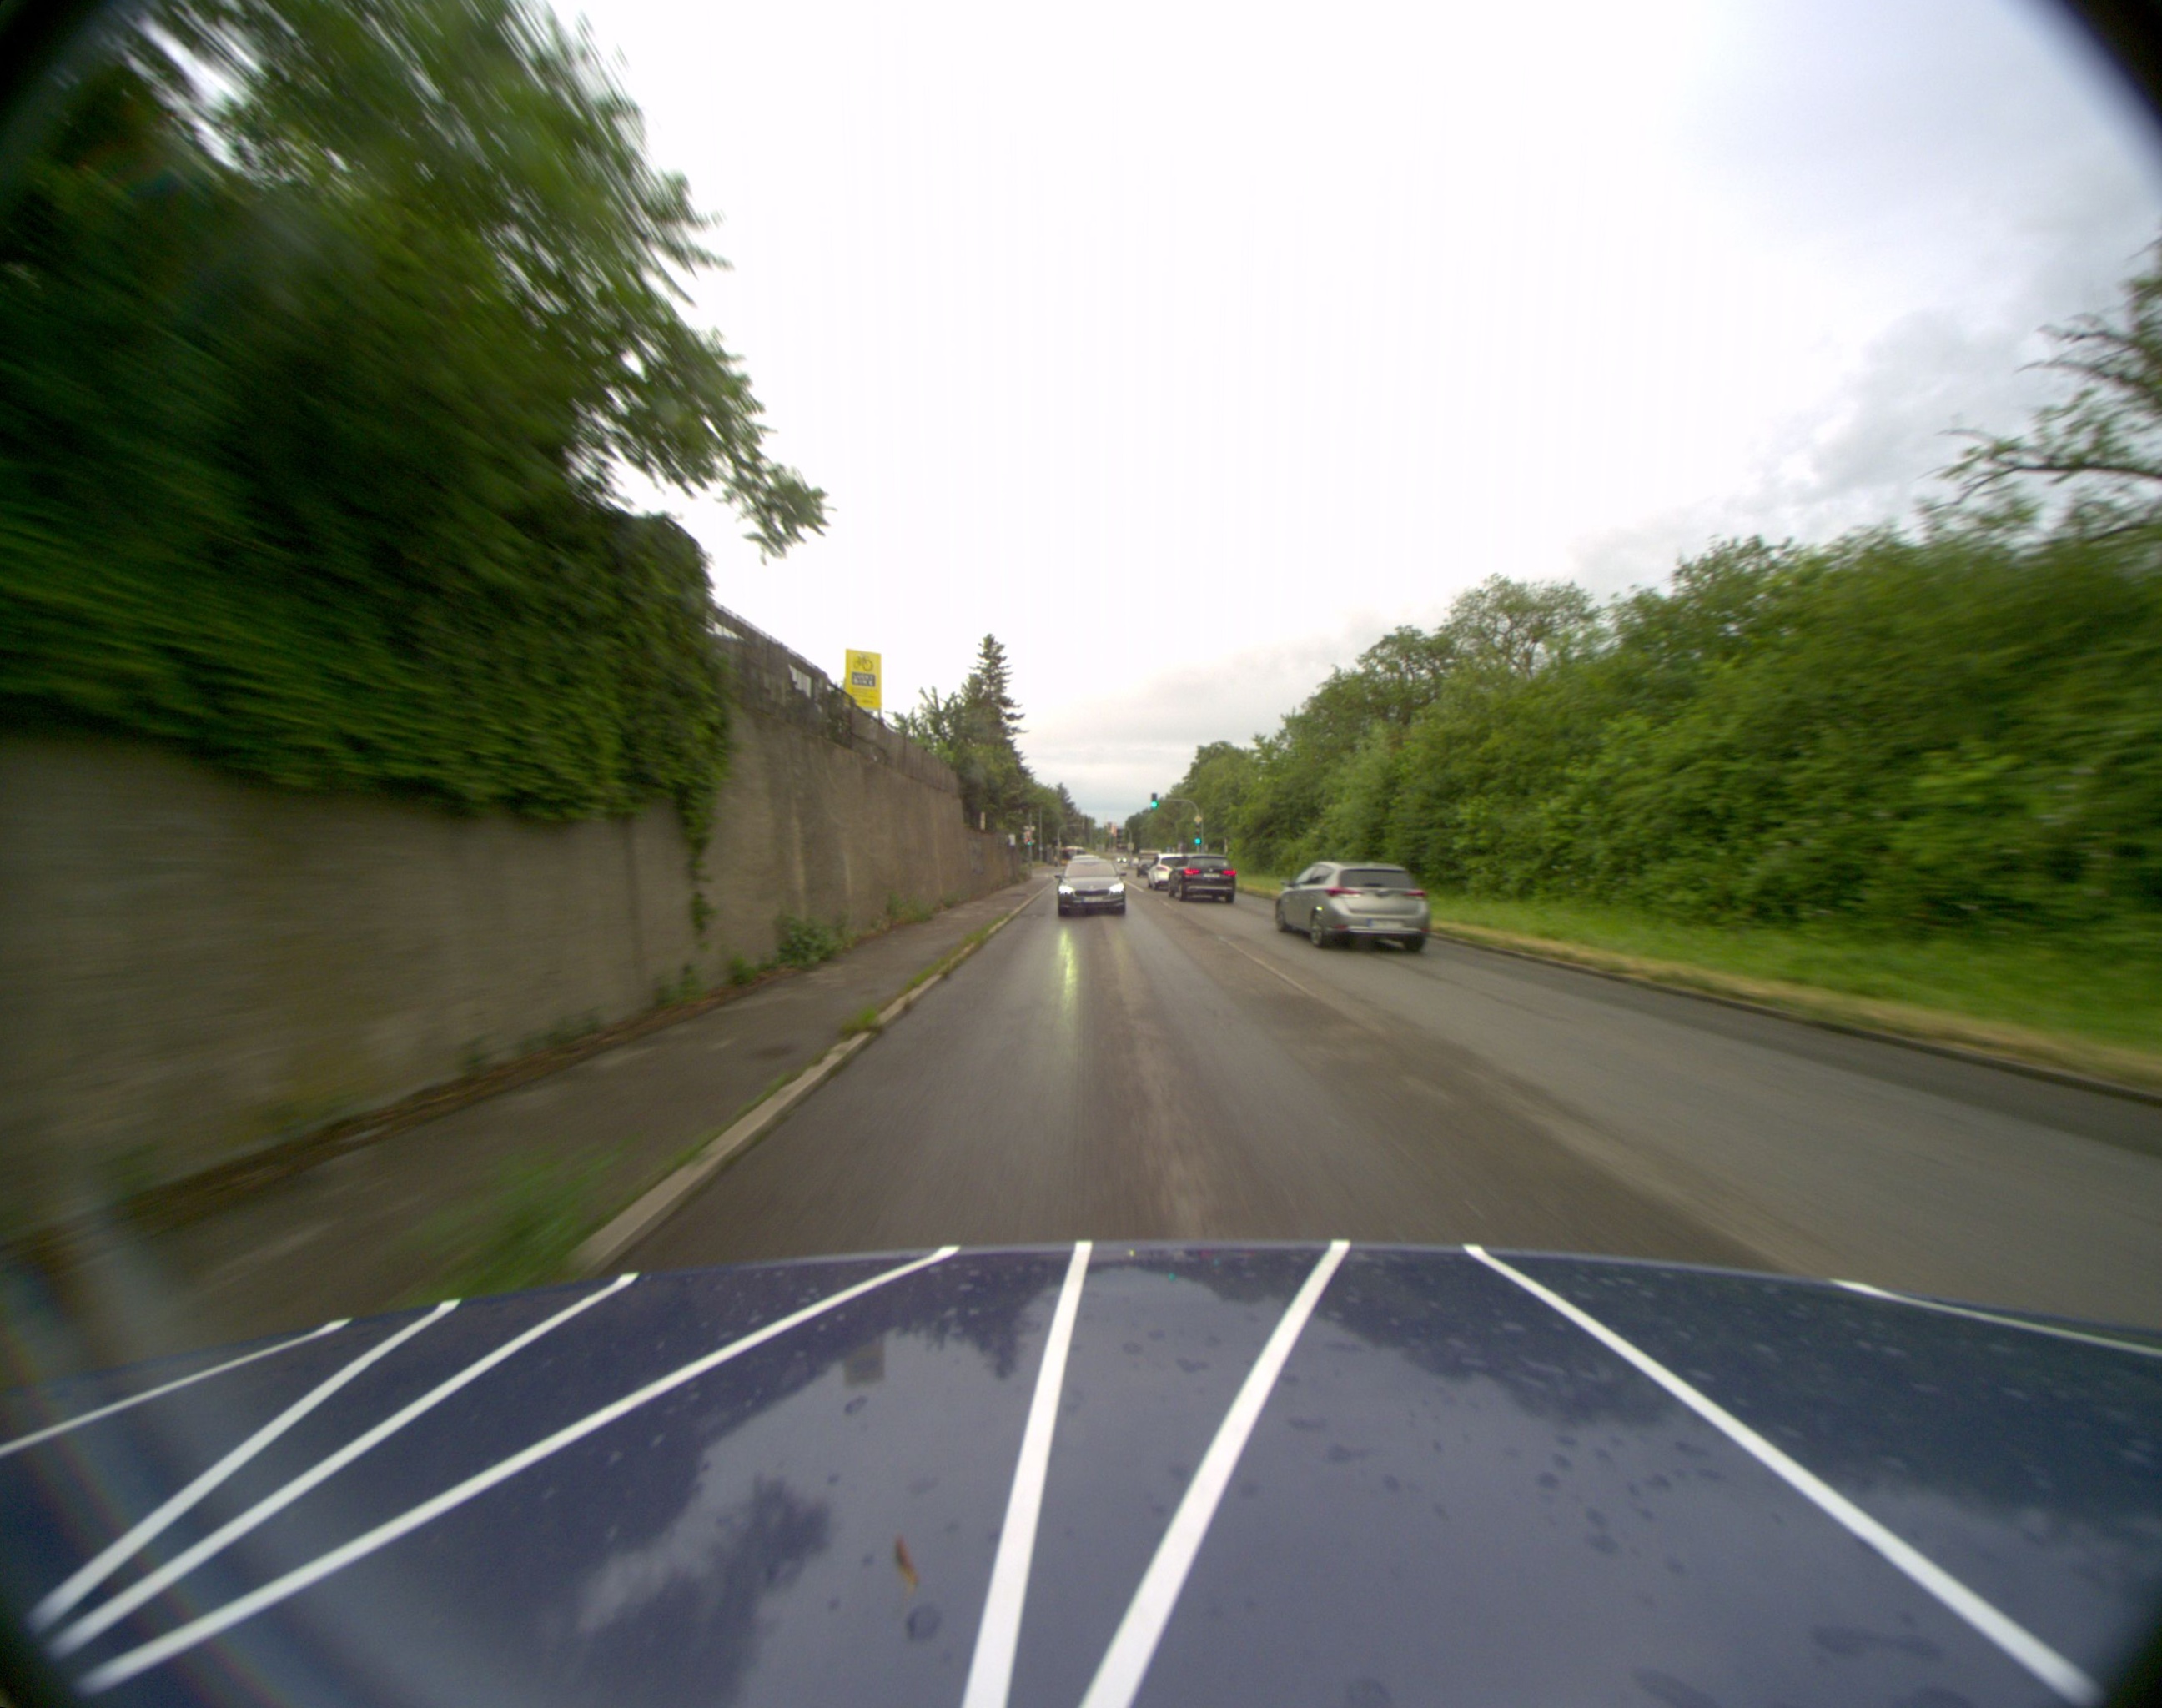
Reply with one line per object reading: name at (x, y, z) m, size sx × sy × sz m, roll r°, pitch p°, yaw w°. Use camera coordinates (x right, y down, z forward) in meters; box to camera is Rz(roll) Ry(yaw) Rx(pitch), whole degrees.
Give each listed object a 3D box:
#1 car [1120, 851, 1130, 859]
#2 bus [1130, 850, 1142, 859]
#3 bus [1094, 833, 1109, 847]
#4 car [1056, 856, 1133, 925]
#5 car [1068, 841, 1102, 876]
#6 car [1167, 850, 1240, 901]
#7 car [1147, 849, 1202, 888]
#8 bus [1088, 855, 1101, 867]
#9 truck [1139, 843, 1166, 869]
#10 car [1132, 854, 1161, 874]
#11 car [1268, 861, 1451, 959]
car at (10.515, 0.315, 181.395) m, size 1.998 × 1.812 × 4.487 m, roll 1°, pitch 0°, yaw 5°
bus at (11.314, 0.148, 156.285) m, size 1.998 × 1.812 × 4.485 m, roll 1°, pitch 0°, yaw 0°
bus at (5.194, -3.515, 191.403) m, size 3.175 × 3.241 × 8.214 m, roll 1°, pitch 0°, yaw 7°
car at (0.320, 0.848, 19.595) m, size 1.675 × 1.477 × 4.214 m, roll -3°, pitch 0°, yaw 0°
car at (0.181, 0.203, 40.685) m, size 1.704 × 1.724 × 3.999 m, roll -1°, pitch 1°, yaw -1°
car at (4.098, 0.667, 26.013) m, size 1.737 × 1.584 × 4.281 m, roll 1°, pitch 0°, yaw -1°
car at (4.120, 0.615, 34.219) m, size 1.899 × 1.625 × 4.269 m, roll 1°, pitch 0°, yaw 0°
bus at (2.152, 1.151, 120.943) m, size 1.998 × 1.812 × 4.485 m, roll 1°, pitch 0°, yaw 0°
truck at (6.993, 0.172, 74.911) m, size 2.479 × 2.494 × 5.639 m, roll 1°, pitch 0°, yaw 5°
car at (5.158, 0.741, 60.355) m, size 1.931 × 1.471 × 4.000 m, roll 1°, pitch 0°, yaw 0°
car at (4.780, 0.880, 13.732) m, size 1.806 × 1.423 × 4.178 m, roll 1°, pitch 0°, yaw 1°
